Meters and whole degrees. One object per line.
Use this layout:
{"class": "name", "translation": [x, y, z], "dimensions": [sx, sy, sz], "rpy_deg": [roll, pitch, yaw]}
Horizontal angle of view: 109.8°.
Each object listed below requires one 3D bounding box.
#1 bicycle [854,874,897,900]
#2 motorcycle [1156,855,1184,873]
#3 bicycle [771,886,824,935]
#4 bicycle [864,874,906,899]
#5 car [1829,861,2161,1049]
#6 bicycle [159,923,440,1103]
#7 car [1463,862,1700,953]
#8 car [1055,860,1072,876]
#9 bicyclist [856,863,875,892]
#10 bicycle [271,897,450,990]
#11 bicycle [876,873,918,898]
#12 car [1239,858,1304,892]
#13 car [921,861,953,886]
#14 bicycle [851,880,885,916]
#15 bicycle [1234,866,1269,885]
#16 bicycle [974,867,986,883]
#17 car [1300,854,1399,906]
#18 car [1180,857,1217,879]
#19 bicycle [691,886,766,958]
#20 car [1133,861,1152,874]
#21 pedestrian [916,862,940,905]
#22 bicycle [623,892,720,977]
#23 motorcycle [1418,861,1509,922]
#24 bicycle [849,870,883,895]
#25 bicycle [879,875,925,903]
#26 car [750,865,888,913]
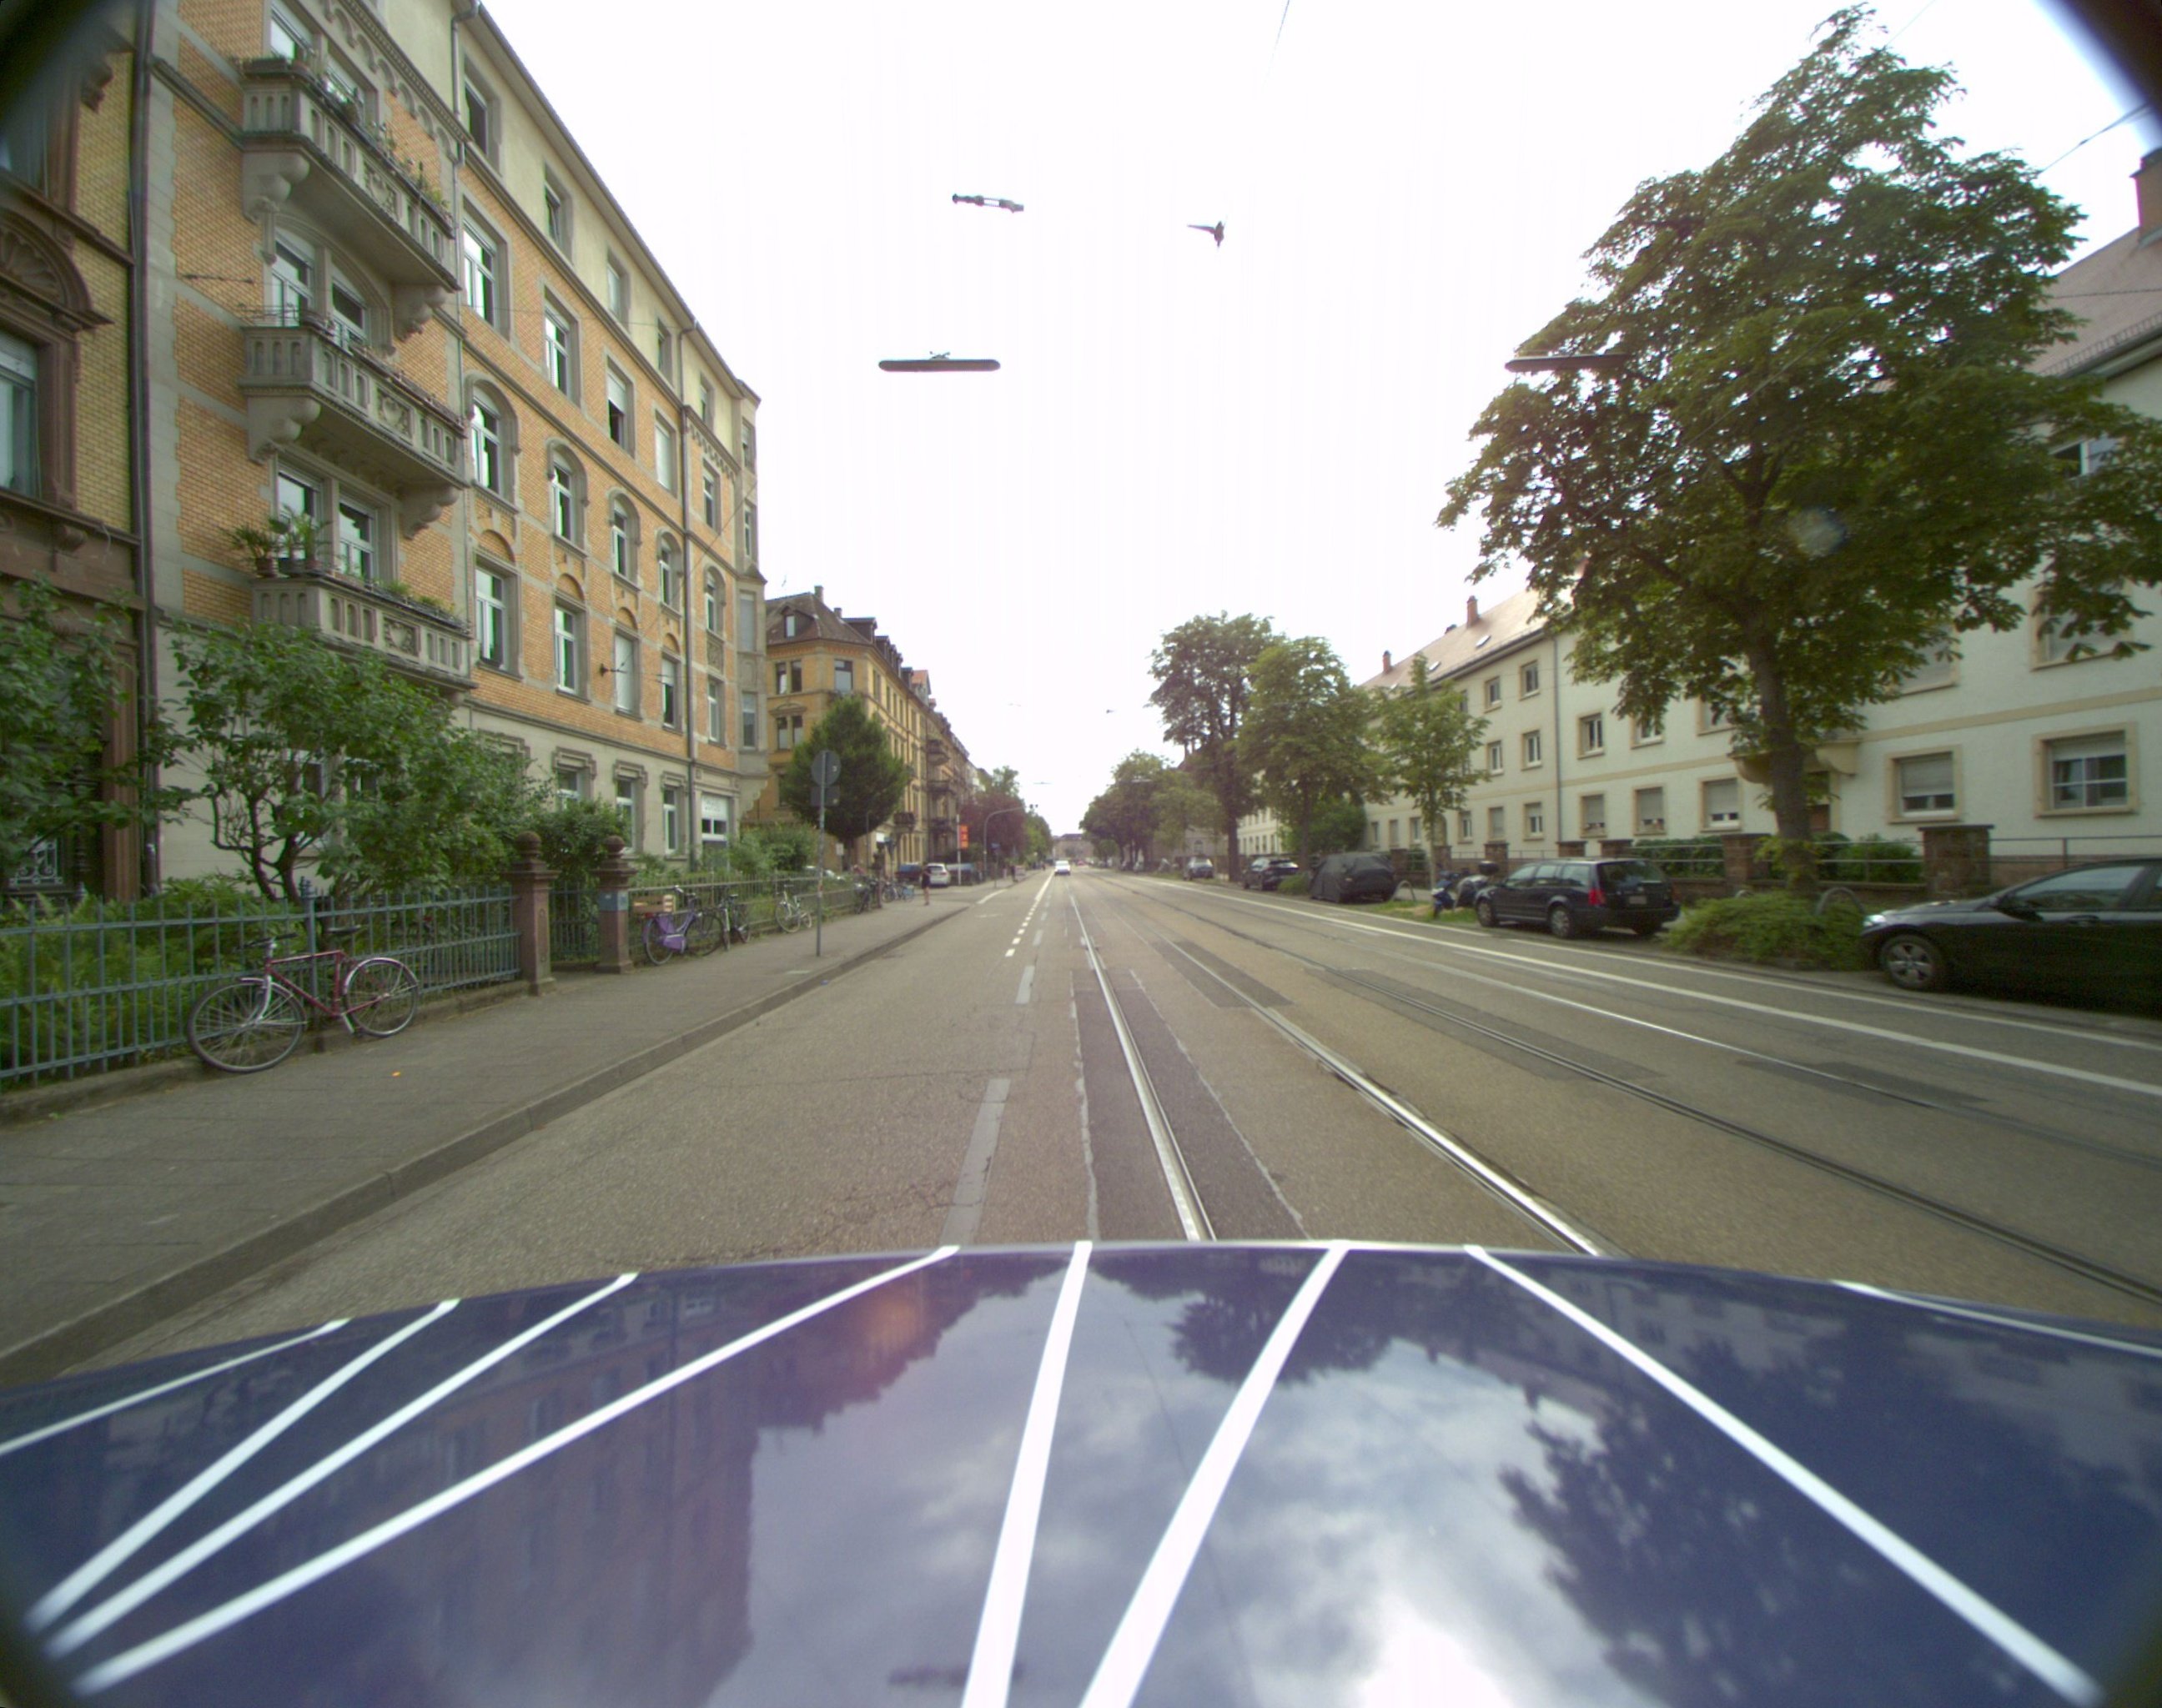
{"class": "bicycle", "translation": [-9.193, 1.491, 34.034], "dimensions": [1.889, 1.121, 0.533], "rpy_deg": [-1, 0, 21]}
{"class": "motorcycle", "translation": [8.215, 0.912, 70.451], "dimensions": [2.312, 1.382, 0.838], "rpy_deg": [-6, 1, 30]}
{"class": "bicycle", "translation": [-6.382, 1.254, 17.164], "dimensions": [0.580, 0.977, 1.672], "rpy_deg": [3, 0, -2]}
{"class": "bicycle", "translation": [-8.947, 1.475, 34.666], "dimensions": [1.889, 1.121, 0.533], "rpy_deg": [-1, 0, 20]}
{"class": "car", "translation": [9.755, 0.849, 6.820], "dimensions": [1.701, 1.415, 4.299], "rpy_deg": [-4, 0, -1]}
{"class": "bicycle", "translation": [-6.217, 1.199, 6.198], "dimensions": [0.580, 1.105, 1.672], "rpy_deg": [-1, 0, -2]}
{"class": "car", "translation": [9.466, 0.917, 14.881], "dimensions": [1.701, 1.415, 4.299], "rpy_deg": [-3, 0, -1]}
{"class": "car", "translation": [-2.060, 1.626, 89.796], "dimensions": [1.876, 1.670, 5.130], "rpy_deg": [-1, 0, -1]}
{"class": "bicyclist", "translation": [-11.807, 1.294, 41.682], "dimensions": [0.858, 1.590, 0.581], "rpy_deg": [-2, -2, 0]}
{"class": "bicycle", "translation": [-9.325, 1.146, 9.876], "dimensions": [1.671, 1.105, 0.611], "rpy_deg": [-1, 0, -3]}
{"class": "bicycle", "translation": [-8.645, 1.472, 35.732], "dimensions": [1.890, 1.121, 0.533], "rpy_deg": [-1, 0, 15]}
{"class": "car", "translation": [8.835, 0.921, 35.640], "dimensions": [1.701, 1.462, 4.298], "rpy_deg": [-1, 0, -3]}
{"class": "car", "translation": [-9.400, 1.255, 49.996], "dimensions": [1.757, 1.516, 3.997], "rpy_deg": [-1, 0, -7]}
{"class": "bicycle", "translation": [-6.440, 1.320, 23.055], "dimensions": [0.580, 0.977, 1.672], "rpy_deg": [3, 0, -2]}
{"class": "bicycle", "translation": [9.024, 1.151, 40.236], "dimensions": [1.672, 0.965, 0.672], "rpy_deg": [-1, 0, -10]}
{"class": "bicycle", "translation": [-7.411, 1.548, 55.892], "dimensions": [0.630, 1.106, 1.874], "rpy_deg": [-1, 0, 0]}
{"class": "car", "translation": [9.179, 0.843, 26.373], "dimensions": [1.790, 1.602, 4.299], "rpy_deg": [-1, 0, -1]}
{"class": "car", "translation": [8.404, 0.988, 54.745], "dimensions": [1.701, 1.462, 4.298], "rpy_deg": [-2, 0, -3]}
{"class": "bicycle", "translation": [-6.235, 1.173, 13.531], "dimensions": [0.580, 1.105, 1.672], "rpy_deg": [3, 0, -2]}
{"class": "car", "translation": [7.459, 1.594, 92.334], "dimensions": [1.732, 1.462, 4.298], "rpy_deg": [-1, 0, -3]}
{"class": "pedestrian", "translation": [-5.901, 1.119, 29.284], "dimensions": [0.732, 1.614, 0.835], "rpy_deg": [-1, 0, -2]}
{"class": "bicycle", "translation": [-6.176, 1.180, 11.559], "dimensions": [0.580, 1.105, 1.672], "rpy_deg": [3, 0, -2]}
{"class": "motorcycle", "translation": [9.419, 0.912, 18.727], "dimensions": [1.871, 1.253, 0.591], "rpy_deg": [-7, 1, -5]}
{"class": "bicycle", "translation": [-11.790, 1.567, 41.692], "dimensions": [1.671, 1.250, 0.581], "rpy_deg": [-2, -2, 0]}
{"class": "bicycle", "translation": [-7.652, 1.464, 32.512], "dimensions": [0.629, 1.106, 1.878], "rpy_deg": [-1, 0, 42]}
{"class": "car", "translation": [-9.307, 1.238, 27.221], "dimensions": [4.297, 1.498, 1.702], "rpy_deg": [-2, 0, -1]}
